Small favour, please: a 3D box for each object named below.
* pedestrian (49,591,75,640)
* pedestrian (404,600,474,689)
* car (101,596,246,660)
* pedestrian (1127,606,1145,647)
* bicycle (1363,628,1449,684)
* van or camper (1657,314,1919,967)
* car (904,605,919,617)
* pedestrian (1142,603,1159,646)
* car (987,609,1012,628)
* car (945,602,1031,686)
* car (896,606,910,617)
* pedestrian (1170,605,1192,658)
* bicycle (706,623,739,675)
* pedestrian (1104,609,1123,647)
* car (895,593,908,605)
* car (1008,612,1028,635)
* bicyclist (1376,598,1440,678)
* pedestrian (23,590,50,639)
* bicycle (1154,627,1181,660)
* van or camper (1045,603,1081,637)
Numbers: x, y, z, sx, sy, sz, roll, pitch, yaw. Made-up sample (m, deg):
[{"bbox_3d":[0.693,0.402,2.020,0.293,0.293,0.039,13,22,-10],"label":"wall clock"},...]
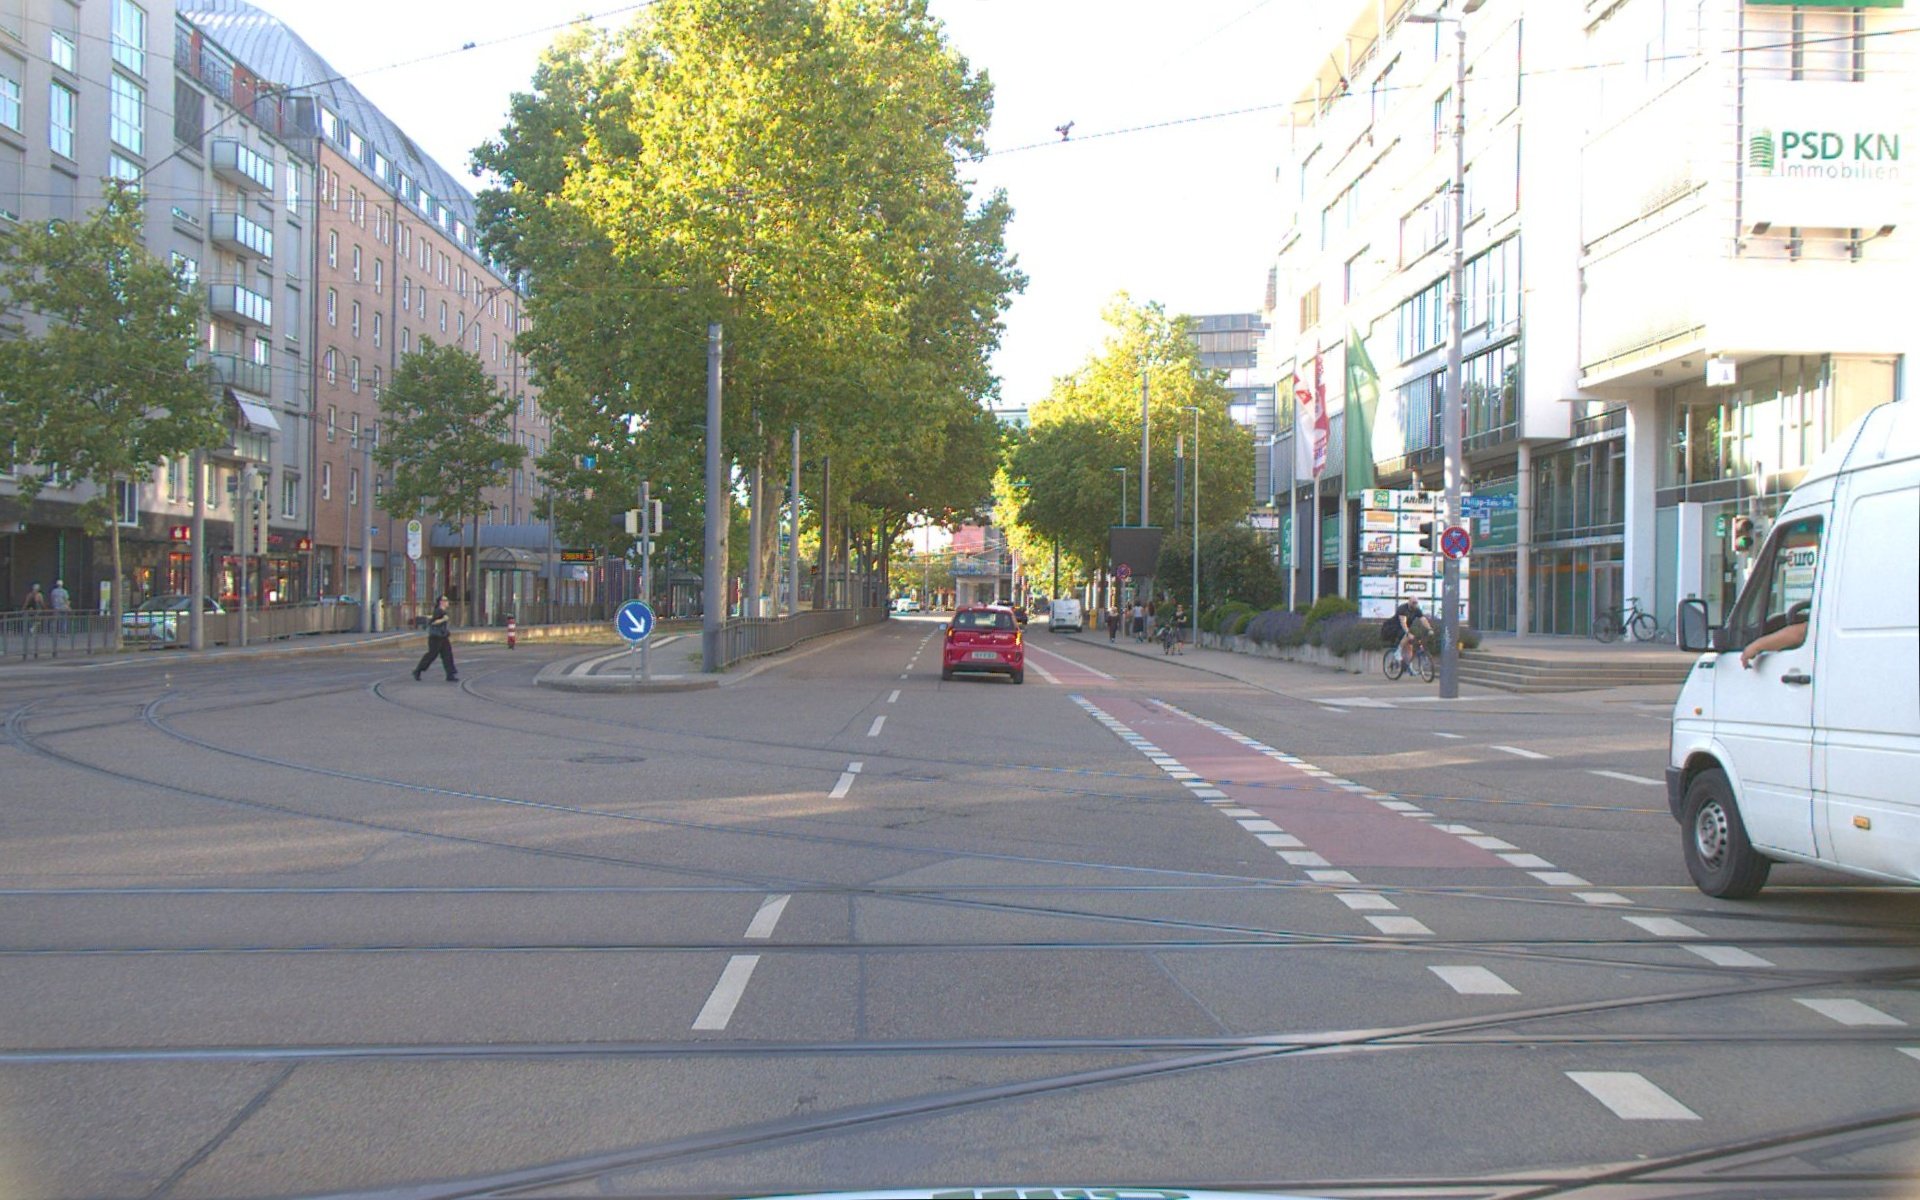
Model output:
[{"bbox_3d":[-28.375,0.490,52.259,0.524,1.520,0.587,0,0,-4],"label":"pedestrian"},{"bbox_3d":[-9.264,0.784,29.441,1.025,1.571,0.694,0,0,-4],"label":"pedestrian"},{"bbox_3d":[-21.022,0.710,44.394,1.915,1.623,4.259,1,0,-1],"label":"car"},{"bbox_3d":[7.567,1.150,71.261,0.553,1.732,0.906,-2,0,-3],"label":"pedestrian"},{"bbox_3d":[9.413,1.172,34.958,0.689,1.117,1.733,-3,0,-30],"label":"bicycle"},{"bbox_3d":[5.024,0.186,6.419,1.928,2.763,6.304,2,0,0],"label":"van or camper"},{"bbox_3d":[-6.673,1.553,227.374,1.743,1.561,3.408,1,0,-5],"label":"car"},{"bbox_3d":[8.233,1.070,71.529,0.529,1.827,0.906,-2,0,-3],"label":"pedestrian"},{"bbox_3d":[3.484,1.643,145.856,1.743,1.561,3.508,1,0,-5],"label":"car"},{"bbox_3d":[0.519,0.839,33.006,1.580,1.561,3.411,1,0,-1],"label":"car"},{"bbox_3d":[-8.038,1.609,233.943,1.743,1.561,3.408,1,0,-5],"label":"car"},{"bbox_3d":[7.251,1.034,54.278,0.633,1.710,0.651,0,0,-2],"label":"pedestrian"},{"bbox_3d":[-4.899,1.003,34.113,0.387,0.965,1.352,0,2,5],"label":"bicycle"},{"bbox_3d":[6.727,1.224,72.537,0.629,1.607,0.723,-3,0,-3],"label":"pedestrian"},{"bbox_3d":[-8.490,-0.170,239.963,1.743,1.616,3.408,1,0,-5],"label":"car"},{"bbox_3d":[4.753,1.936,135.384,1.602,1.831,3.330,0,0,1],"label":"car"},{"bbox_3d":[9.444,0.794,34.867,0.714,1.631,1.077,-1,0,-31],"label":"bicyclist"},{"bbox_3d":[-28.995,0.465,51.943,0.524,1.520,0.587,0,0,-4],"label":"pedestrian"},{"bbox_3d":[6.807,1.416,54.293,0.510,0.992,2.201,-3,0,-2],"label":"bicycle"},{"bbox_3d":[6.378,1.246,102.532,1.952,2.024,4.744,1,-1,0],"label":"van or camper"}]
